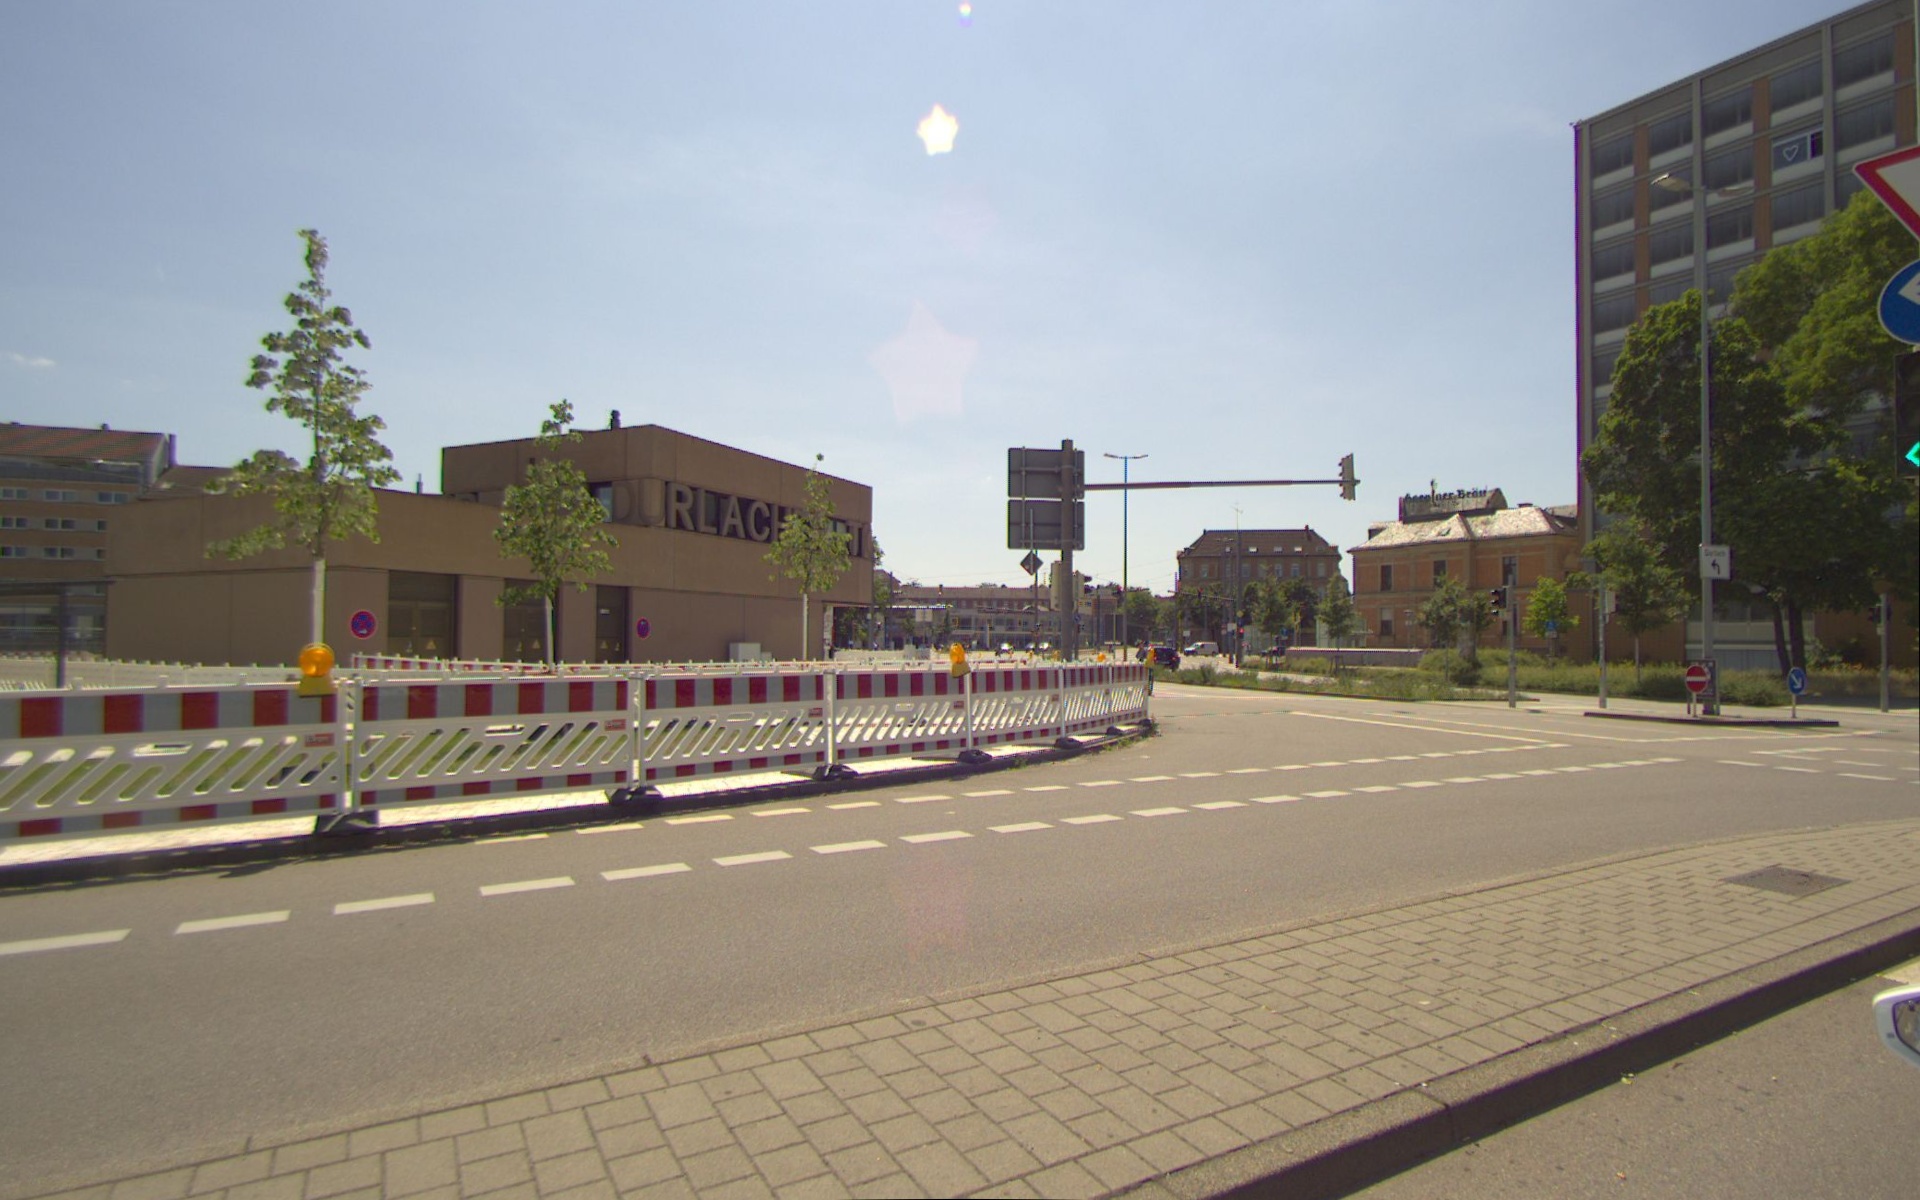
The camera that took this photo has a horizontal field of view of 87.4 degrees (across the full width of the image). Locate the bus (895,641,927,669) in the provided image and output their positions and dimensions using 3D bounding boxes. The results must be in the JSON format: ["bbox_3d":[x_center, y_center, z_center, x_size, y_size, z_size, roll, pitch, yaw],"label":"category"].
[{"bbox_3d":[-2.776,3.037,55.977,1.225,1.266,5.812,2,0,-8],"label":"bus"}]

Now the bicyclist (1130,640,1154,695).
[{"bbox_3d":[5.373,1.980,29.669,0.522,1.600,0.497,1,-3,-13],"label":"bicyclist"}]

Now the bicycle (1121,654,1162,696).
[{"bbox_3d":[5.351,2.189,29.715,0.515,1.196,1.894,1,-3,-12],"label":"bicycle"}]

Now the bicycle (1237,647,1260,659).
[{"bbox_3d":[38.409,7.055,133.652,2.780,1.482,0.633,2,0,-3],"label":"bicycle"}]

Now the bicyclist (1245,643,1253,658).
[{"bbox_3d":[38.454,6.687,133.641,0.751,1.964,0.660,1,0,-3],"label":"bicyclist"}]

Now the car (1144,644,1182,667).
[{"bbox_3d":[14.606,3.978,72.572,1.689,1.577,4.587,1,-3,-1],"label":"car"}]

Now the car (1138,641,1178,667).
[{"bbox_3d":[11.985,3.268,60.988,1.594,1.482,4.001,1,-3,-1],"label":"car"}]

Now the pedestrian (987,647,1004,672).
[{"bbox_3d":[2.846,4.734,79.758,1.161,1.959,0.901,2,0,-8],"label":"pedestrian"}]
